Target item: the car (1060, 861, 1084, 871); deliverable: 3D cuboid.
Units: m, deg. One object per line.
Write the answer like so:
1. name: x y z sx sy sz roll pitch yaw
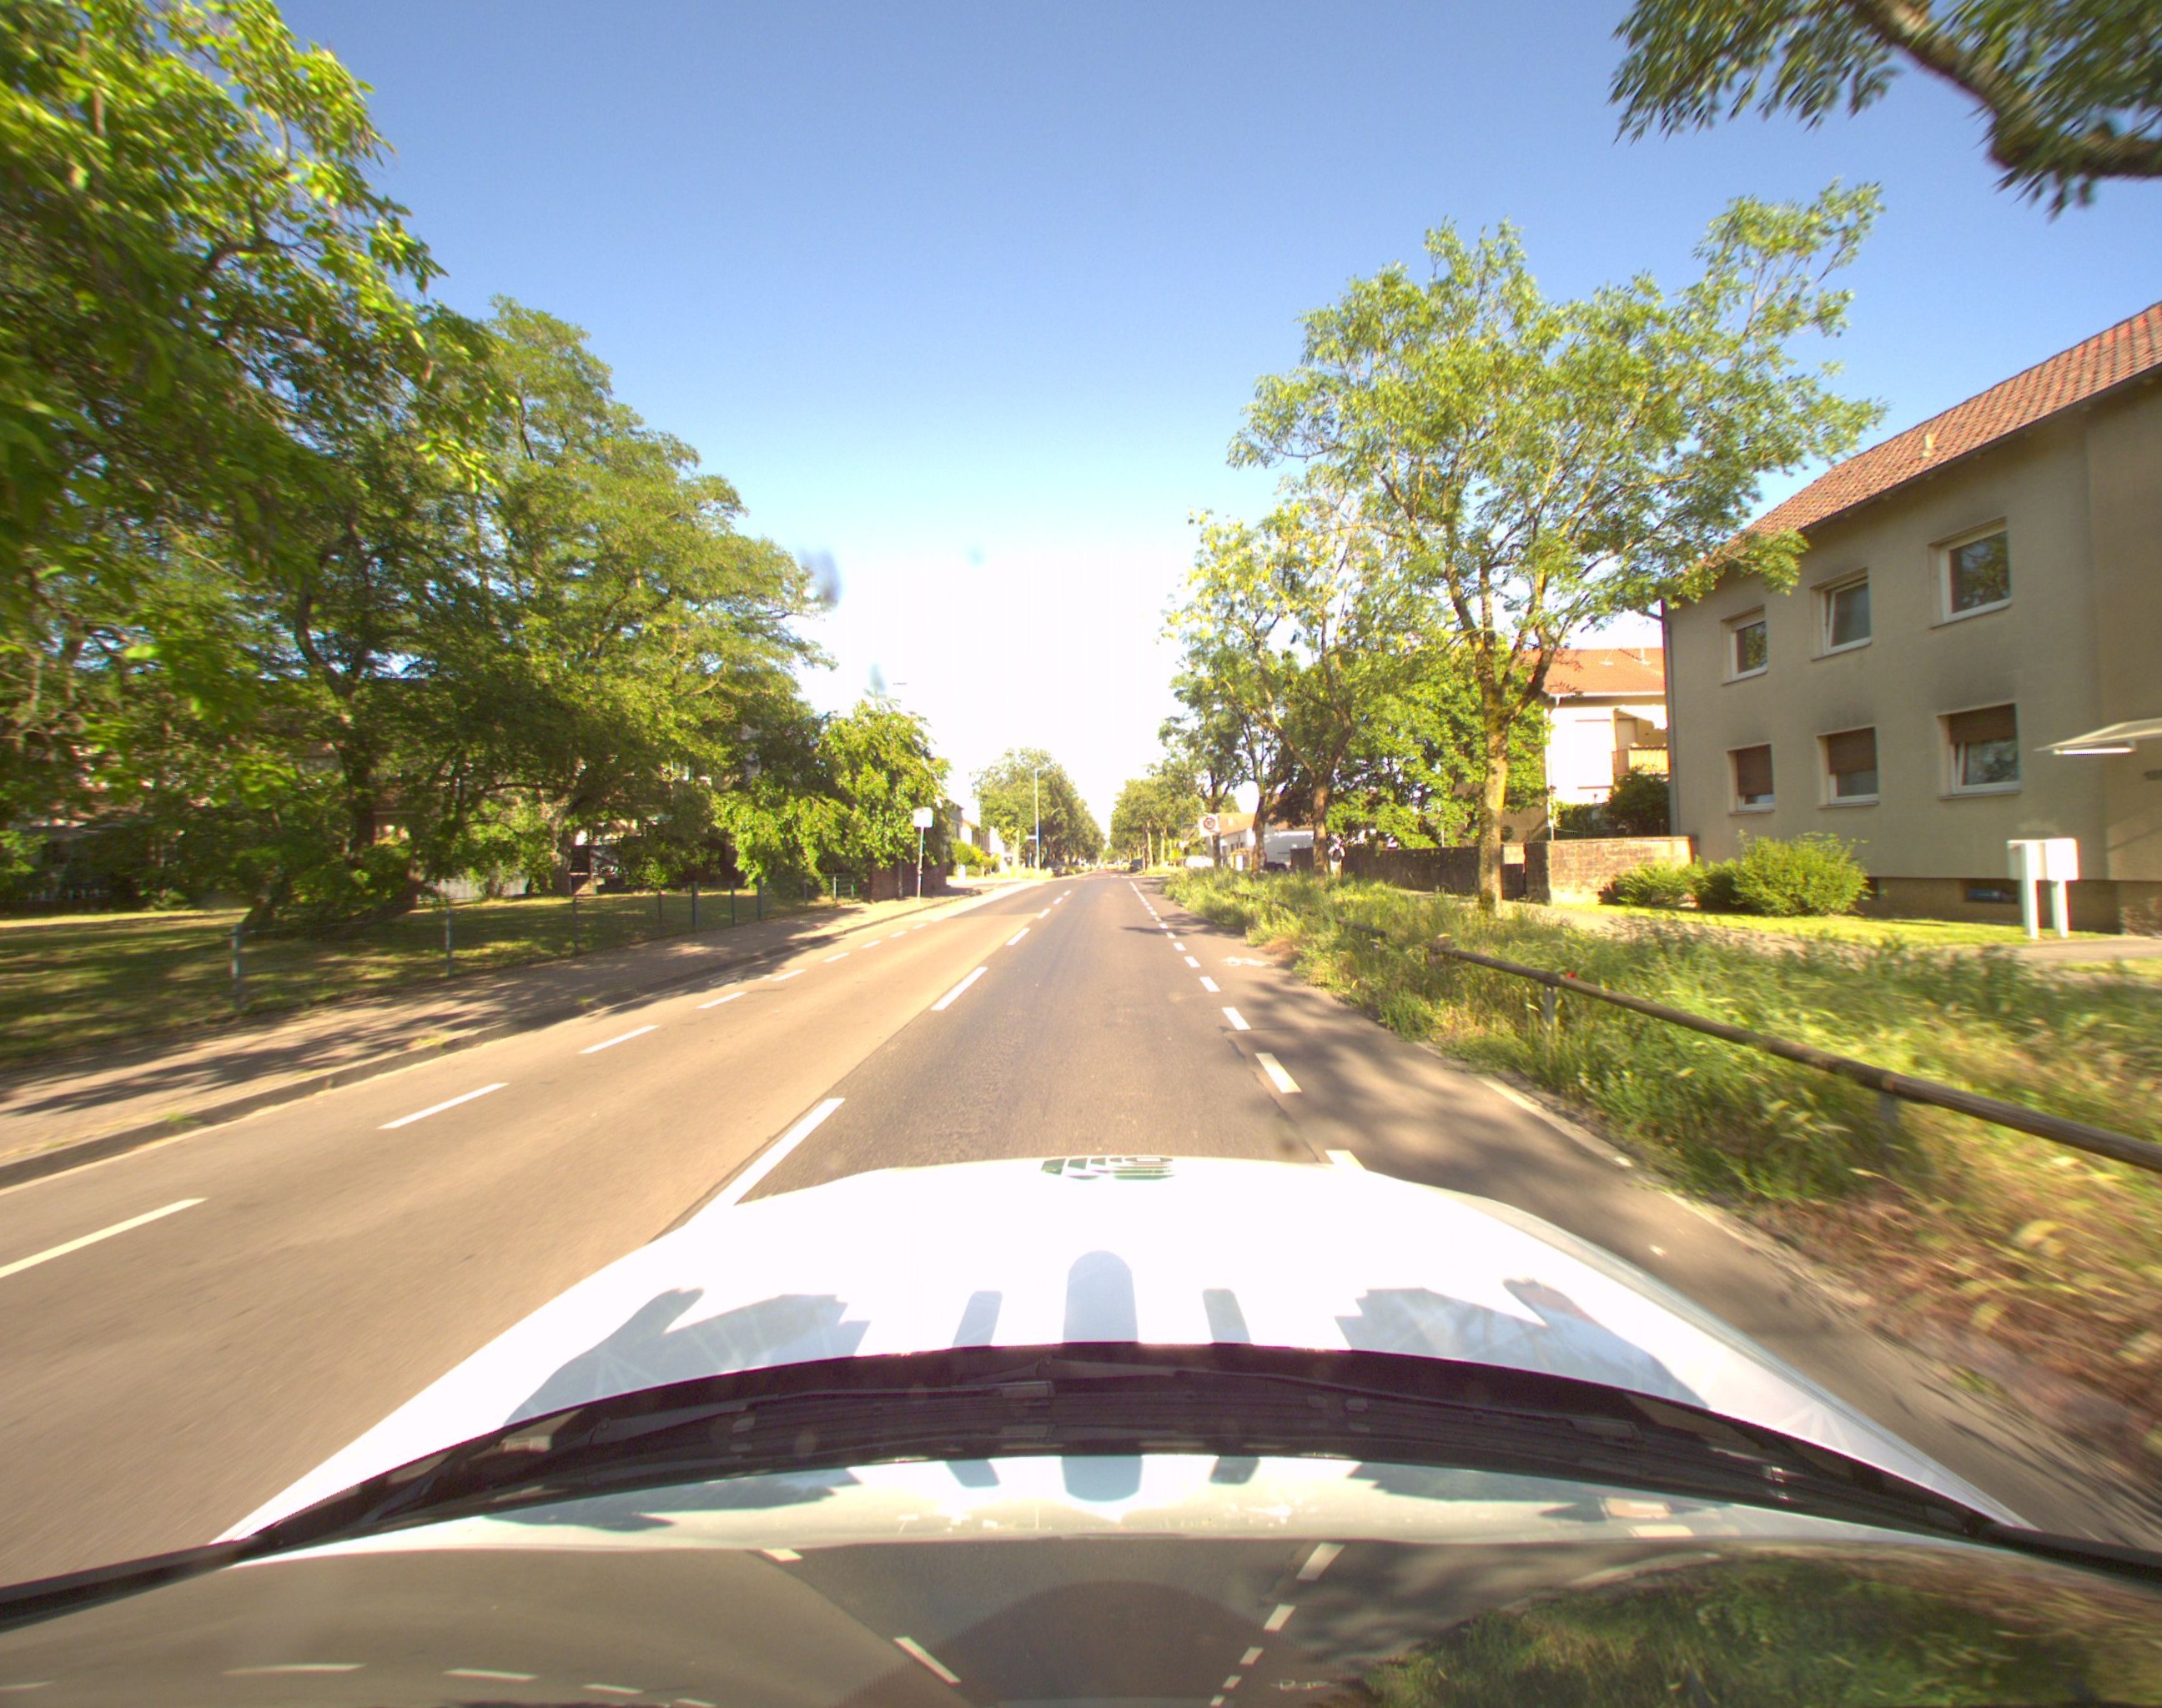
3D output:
1. car: -1.753 2.251 155.482 4.535 1.765 1.998 -1 1 -3

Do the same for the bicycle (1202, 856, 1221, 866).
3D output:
1. bicycle: 14.352 0.782 89.559 1.951 0.998 0.576 -4 1 0

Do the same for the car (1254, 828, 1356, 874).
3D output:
1. car: 13.633 -0.156 49.804 5.578 2.539 2.265 -2 0 -1

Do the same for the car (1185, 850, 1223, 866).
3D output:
1. car: 14.003 0.480 92.701 3.973 1.488 1.902 -4 1 0

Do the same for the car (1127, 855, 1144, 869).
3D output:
1. car: 6.733 1.037 100.826 1.846 1.626 4.471 -3 -1 2

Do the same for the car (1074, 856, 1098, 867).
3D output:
1. car: 1.125 1.715 183.394 5.480 2.247 2.517 -1 1 0

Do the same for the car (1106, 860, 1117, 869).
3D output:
1. car: 5.308 1.883 141.324 1.882 1.479 3.887 0 -1 0

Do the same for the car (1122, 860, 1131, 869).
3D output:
1. car: 9.639 2.255 174.167 1.895 1.774 4.303 -1 -1 2

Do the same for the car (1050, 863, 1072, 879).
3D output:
1. car: -2.111 1.842 85.594 1.931 1.609 4.386 -1 -2 3

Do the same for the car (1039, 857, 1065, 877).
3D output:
1. car: -2.568 1.215 73.742 1.945 1.727 4.878 -1 -2 3

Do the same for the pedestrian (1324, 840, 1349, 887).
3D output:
1. pedestrian: 9.704 0.346 30.964 0.635 1.705 0.612 -5 0 1
